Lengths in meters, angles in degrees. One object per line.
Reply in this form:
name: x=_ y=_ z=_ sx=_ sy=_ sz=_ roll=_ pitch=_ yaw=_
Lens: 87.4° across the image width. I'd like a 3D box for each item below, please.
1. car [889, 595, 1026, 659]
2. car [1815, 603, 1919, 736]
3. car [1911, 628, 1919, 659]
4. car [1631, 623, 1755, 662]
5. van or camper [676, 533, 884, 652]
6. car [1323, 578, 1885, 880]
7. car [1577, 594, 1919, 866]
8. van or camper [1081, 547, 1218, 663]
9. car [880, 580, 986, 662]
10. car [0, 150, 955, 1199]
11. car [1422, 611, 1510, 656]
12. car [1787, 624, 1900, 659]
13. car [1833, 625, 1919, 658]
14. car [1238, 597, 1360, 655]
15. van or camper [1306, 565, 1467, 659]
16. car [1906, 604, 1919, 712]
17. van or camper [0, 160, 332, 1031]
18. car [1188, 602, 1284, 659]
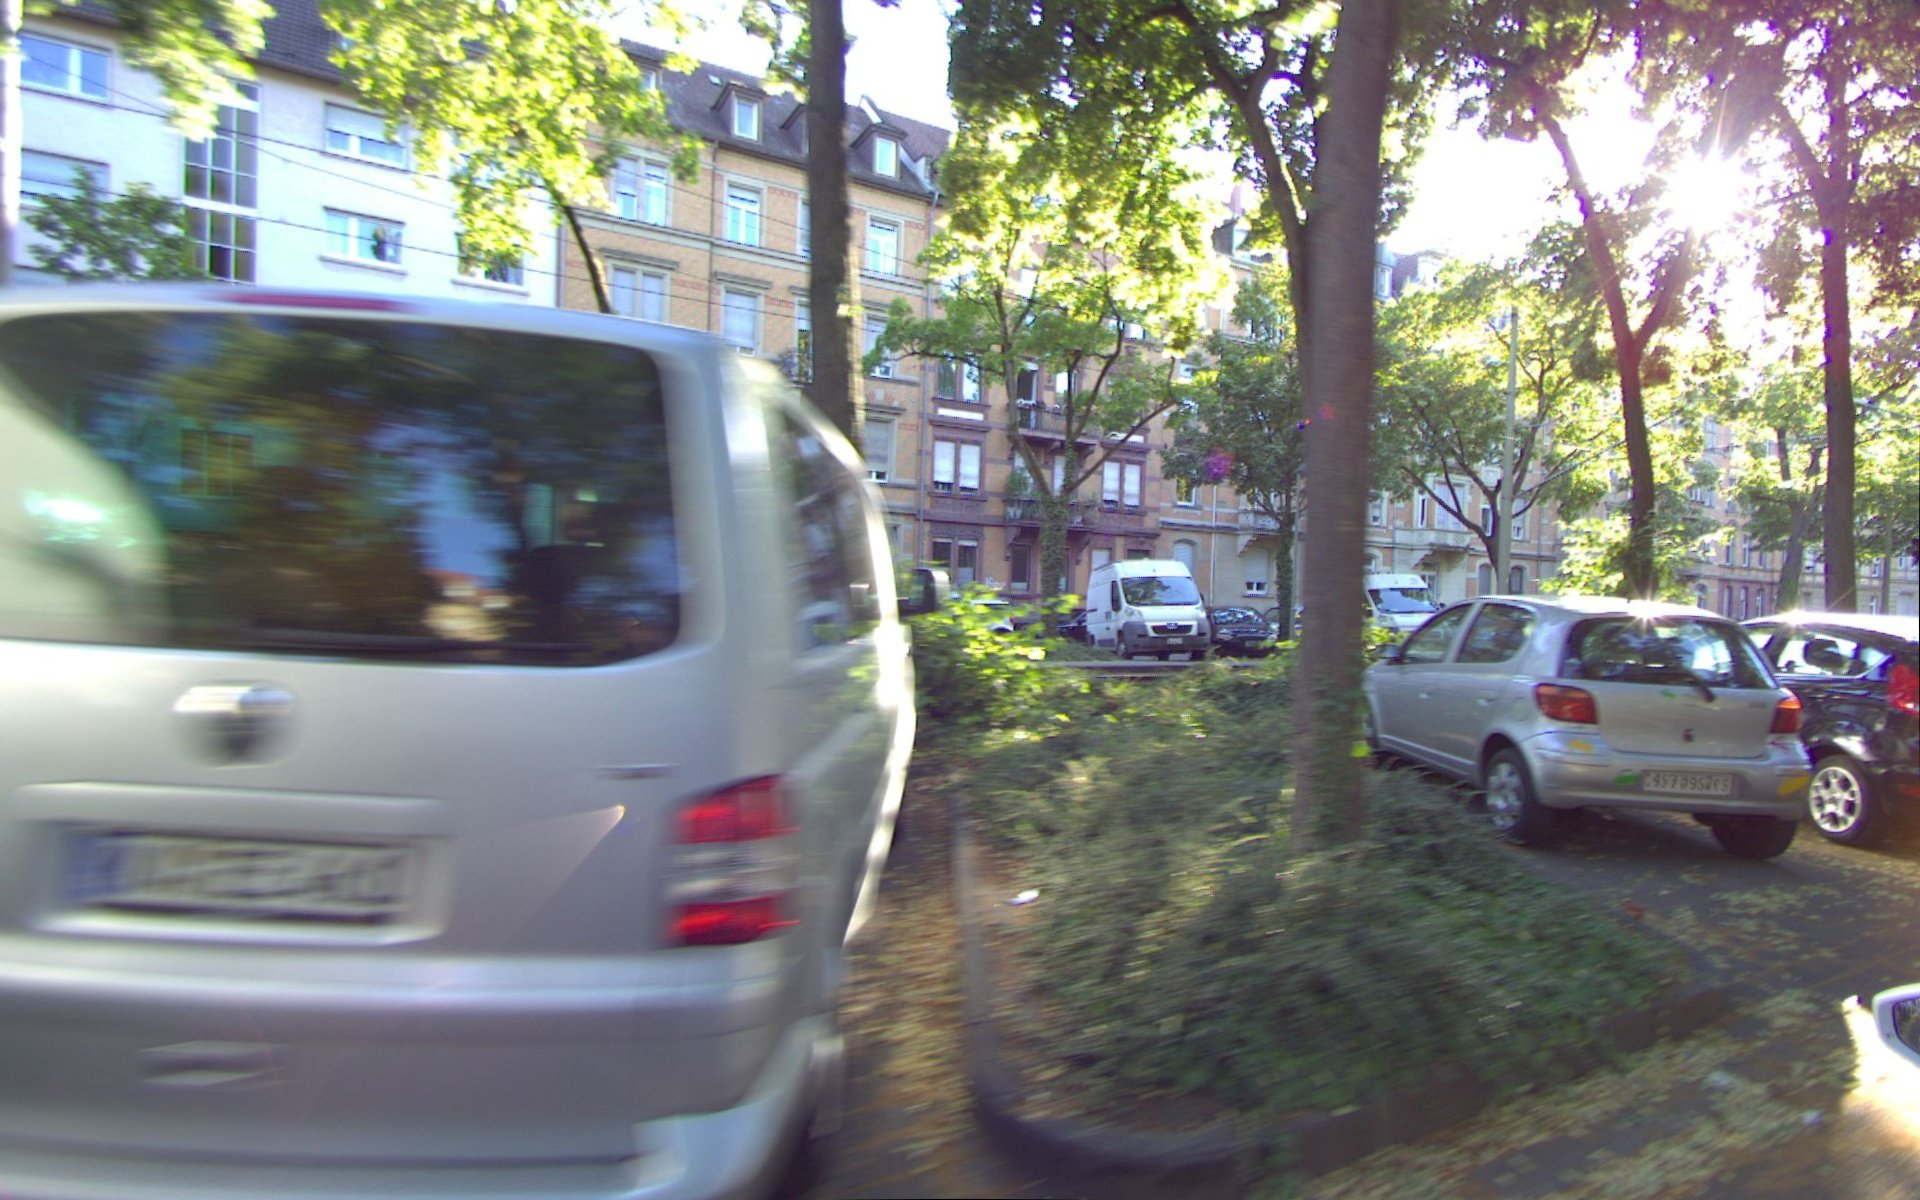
car: x=-0.073 y=0.817 z=31.676 sx=3.870 sy=1.807 sz=1.842 roll=1 pitch=3 yaw=-30
car: x=12.177 y=0.925 z=11.261 sx=1.748 sy=1.508 sz=4.094 roll=3 pitch=3 yaw=3
car: x=52.045 y=2.331 z=52.288 sx=1.628 sy=1.662 sz=3.652 roll=2 pitch=0 yaw=2
car: x=28.544 y=1.632 z=39.270 sx=1.564 sy=1.335 sz=3.995 roll=2 pitch=0 yaw=-7
van or camper: x=-5.115 y=-0.142 z=28.831 sx=5.449 sy=3.150 sz=2.064 roll=2 pitch=0 yaw=-30
car: x=4.214 y=0.684 z=7.368 sx=1.789 sy=1.513 sz=3.550 roll=3 pitch=3 yaw=1
car: x=6.646 y=0.796 z=7.619 sx=1.789 sy=1.458 sz=3.826 roll=3 pitch=3 yaw=6
van or camper: x=4.482 y=0.148 z=24.756 sx=1.962 sy=2.501 sz=5.675 roll=1 pitch=-1 yaw=-3
car: x=-0.490 y=0.460 z=22.372 sx=1.868 sy=1.603 sz=4.326 roll=1 pitch=-1 yaw=5
car: x=-1.129 y=0.267 z=3.947 sx=2.005 sy=2.004 sz=4.886 roll=3 pitch=2 yaw=1
car: x=22.773 y=1.478 z=45.212 sx=3.466 sy=1.807 sz=1.842 roll=1 pitch=3 yaw=-30
car: x=39.377 y=1.828 z=44.902 sx=1.674 sy=1.399 sz=3.738 roll=2 pitch=0 yaw=-2
car: x=43.833 y=1.960 z=47.518 sx=1.694 sy=1.399 sz=3.737 roll=2 pitch=0 yaw=-3
car: x=13.178 y=0.991 z=38.980 sx=4.605 sy=2.032 sz=1.842 roll=1 pitch=3 yaw=-30
van or camper: x=12.154 y=0.354 z=29.153 sx=2.262 sy=2.402 sz=5.552 roll=1 pitch=-1 yaw=0
car: x=14.683 y=0.980 z=12.373 sx=1.896 sy=1.561 sz=4.572 roll=3 pitch=3 yaw=5
van or camper: x=-3.740 y=-0.003 z=1.926 sx=2.005 sy=2.504 sz=4.884 roll=3 pitch=2 yaw=-1
car: x=7.301 y=0.787 z=26.941 sx=1.695 sy=1.380 sz=4.326 roll=1 pitch=-1 yaw=5
